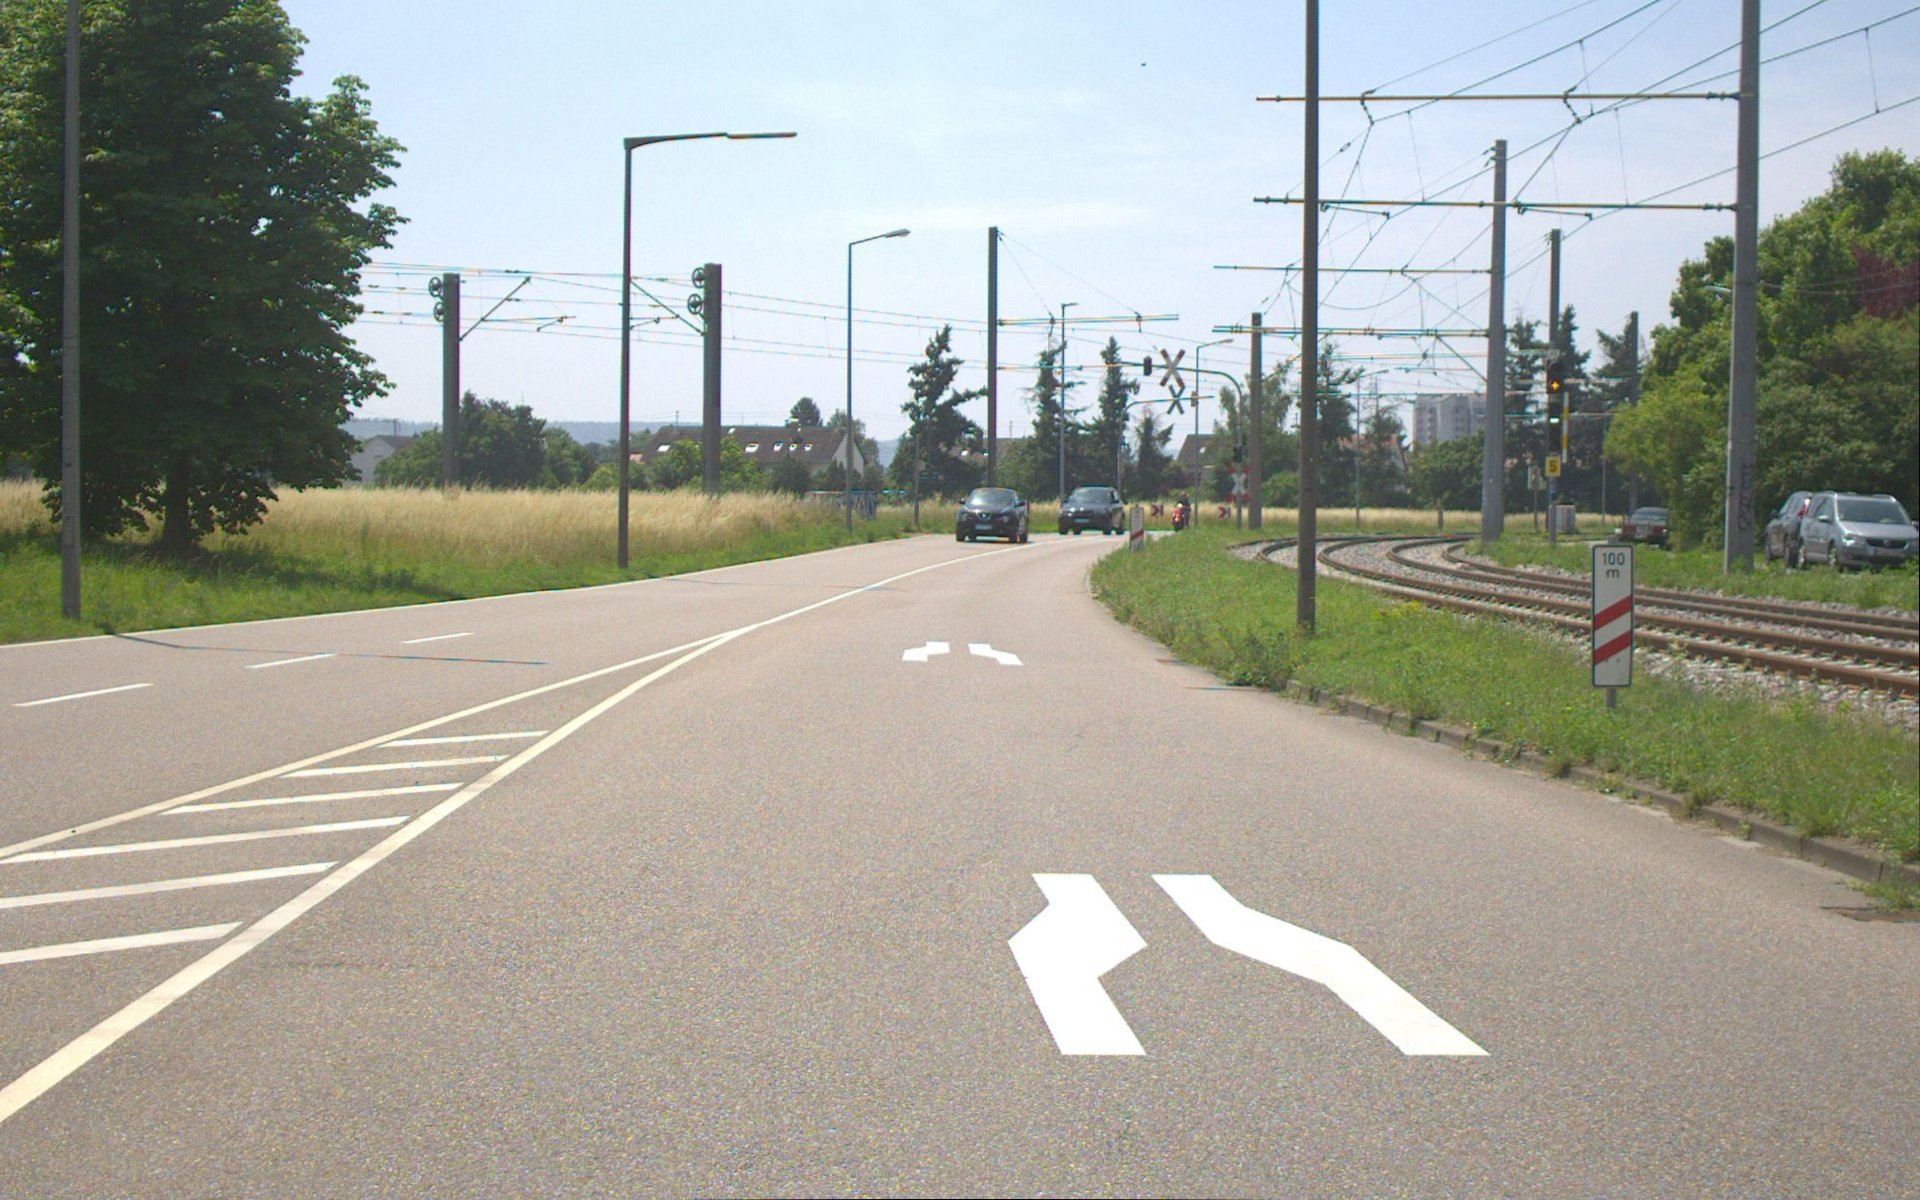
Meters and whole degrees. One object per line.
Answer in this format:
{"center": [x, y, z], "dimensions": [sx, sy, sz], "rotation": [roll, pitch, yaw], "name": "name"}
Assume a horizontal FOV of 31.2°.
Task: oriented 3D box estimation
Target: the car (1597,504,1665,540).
{"center": [22.573, -2.646, 115.699], "dimensions": [1.644, 1.166, 3.669], "rotation": [0, 2, 1], "name": "car"}

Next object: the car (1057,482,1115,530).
{"center": [4.401, -3.274, 119.530], "dimensions": [1.827, 1.596, 4.484], "rotation": [1, 2, 4], "name": "car"}

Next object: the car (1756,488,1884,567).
{"center": [18.899, -1.575, 75.763], "dimensions": [1.828, 1.651, 4.815], "rotation": [1, 1, 3], "name": "car"}

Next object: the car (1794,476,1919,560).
{"center": [18.252, -1.625, 69.413], "dimensions": [1.676, 1.619, 4.711], "rotation": [1, 1, 0], "name": "car"}

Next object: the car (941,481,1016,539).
{"center": [0.558, -2.600, 99.983], "dimensions": [1.822, 1.567, 4.111], "rotation": [1, 1, 5], "name": "car"}
